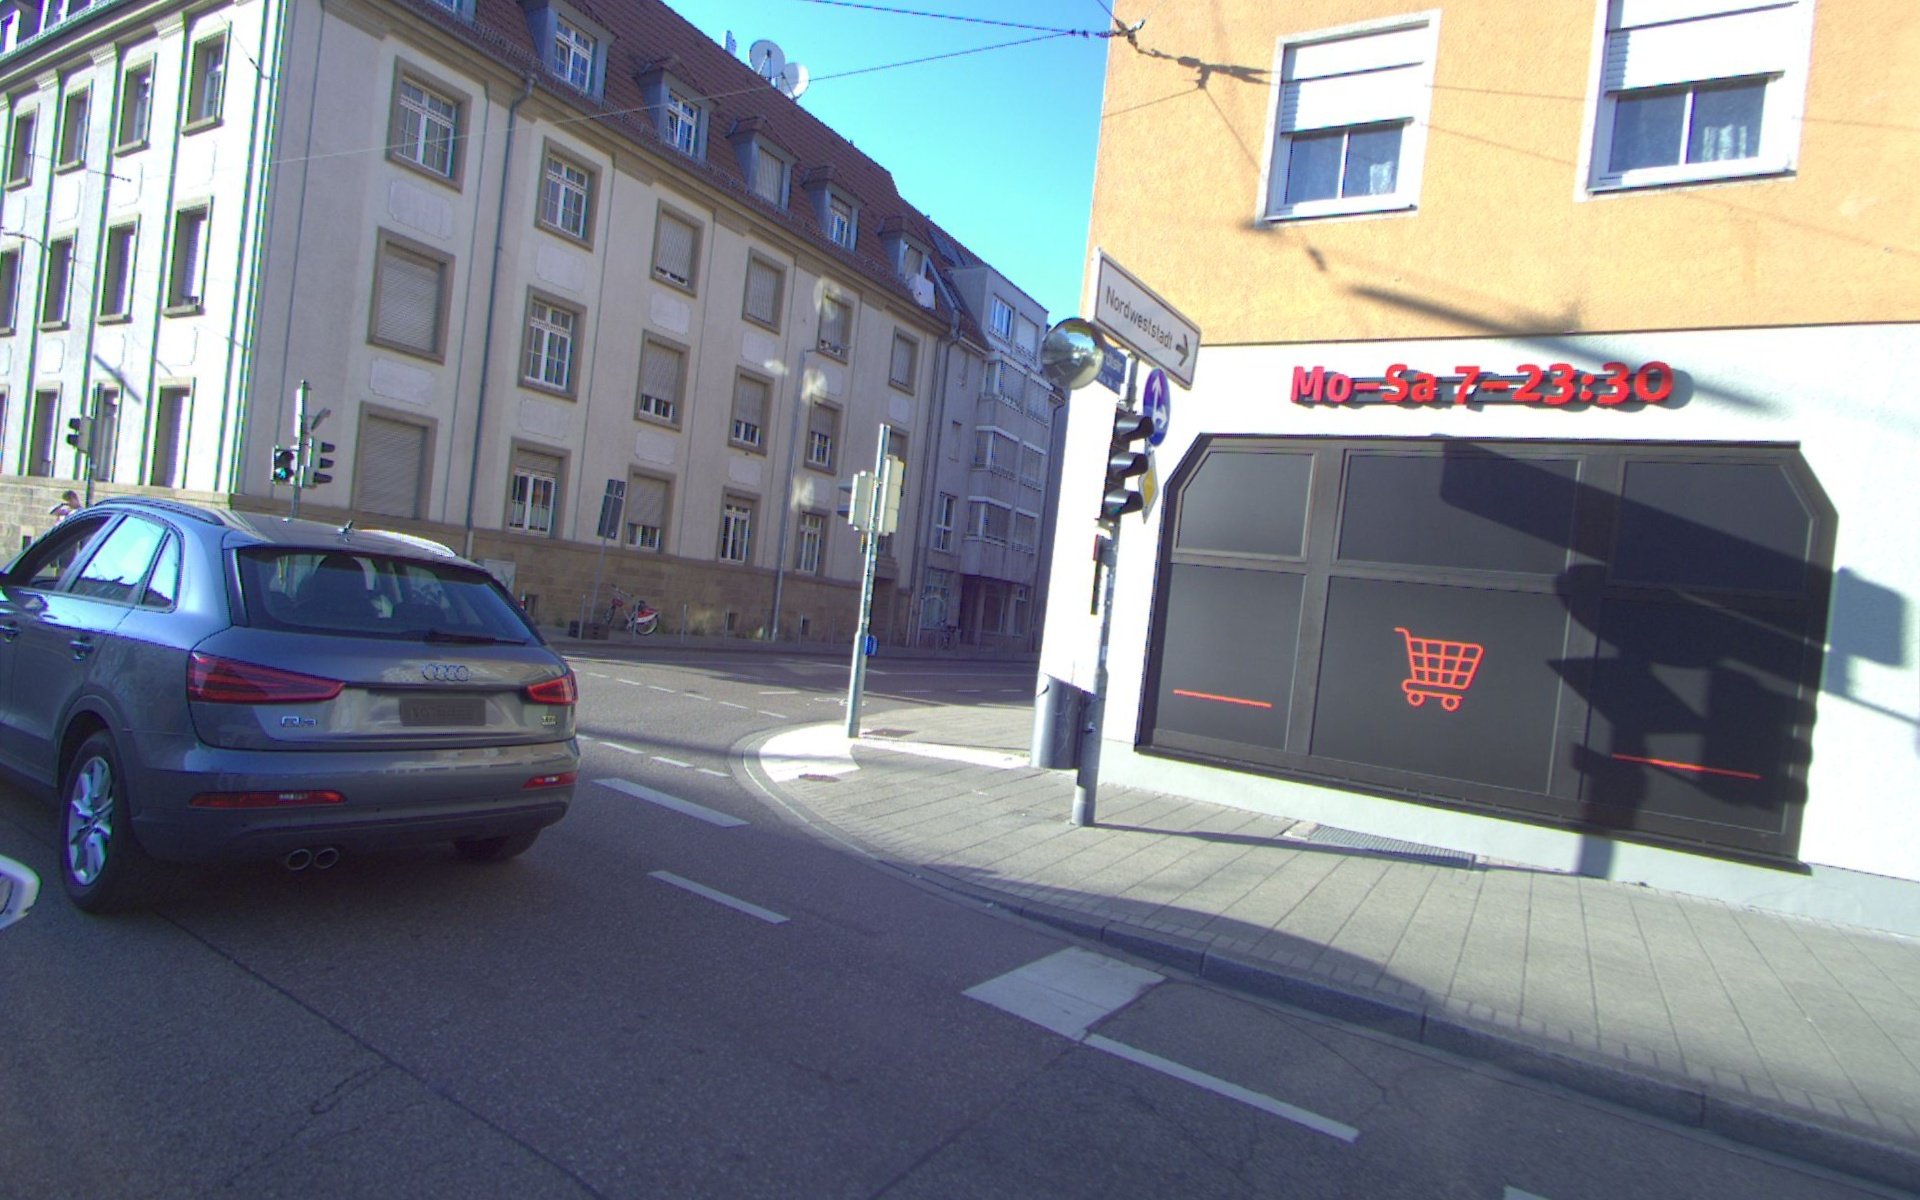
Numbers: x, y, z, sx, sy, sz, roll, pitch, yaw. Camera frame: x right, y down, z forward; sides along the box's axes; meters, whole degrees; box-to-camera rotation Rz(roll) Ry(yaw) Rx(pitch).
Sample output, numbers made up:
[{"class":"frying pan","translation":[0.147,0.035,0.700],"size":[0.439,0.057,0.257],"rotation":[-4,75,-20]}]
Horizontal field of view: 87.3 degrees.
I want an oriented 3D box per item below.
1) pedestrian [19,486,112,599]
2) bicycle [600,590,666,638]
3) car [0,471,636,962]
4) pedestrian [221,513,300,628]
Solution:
[{"class":"pedestrian","translation":[-15.261,-0.977,17.169],"size":[0.810,1.783,0.837],"rotation":[6,-1,31]},{"class":"bicycle","translation":[-8.088,0.349,24.917],"size":[1.499,1.029,0.247],"rotation":[8,-2,-43]},{"class":"car","translation":[-3.782,0.304,5.132],"size":[4.158,1.570,1.700],"rotation":[6,-2,34]},{"class":"pedestrian","translation":[-11.504,-0.483,16.543],"size":[0.812,1.779,0.630],"rotation":[6,-1,31]}]
